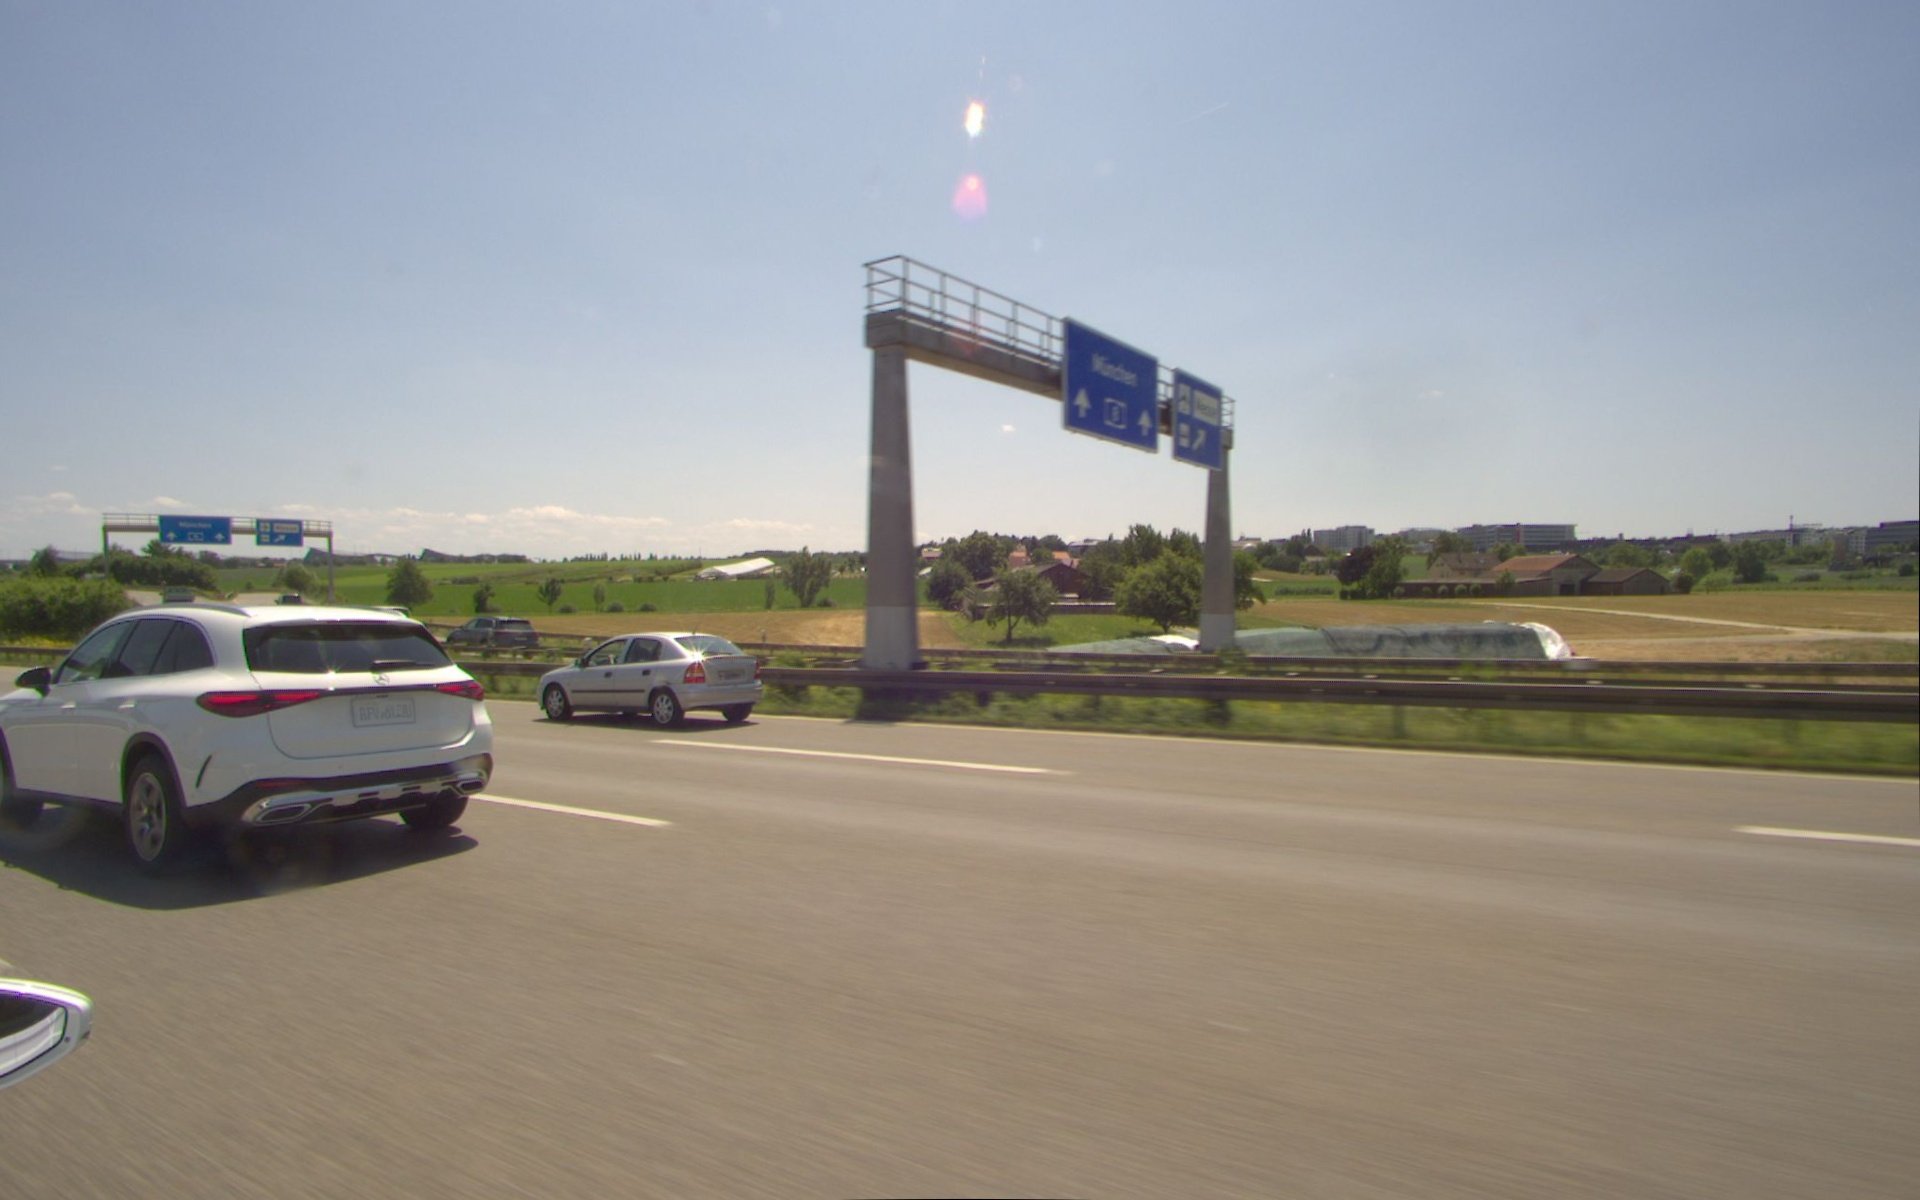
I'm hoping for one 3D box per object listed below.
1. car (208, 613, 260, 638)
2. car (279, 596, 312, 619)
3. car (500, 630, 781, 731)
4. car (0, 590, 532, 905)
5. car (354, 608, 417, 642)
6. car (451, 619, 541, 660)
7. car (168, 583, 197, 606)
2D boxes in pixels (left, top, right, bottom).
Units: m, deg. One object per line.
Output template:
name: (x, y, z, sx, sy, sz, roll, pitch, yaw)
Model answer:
car: (-49.317, 1.755, 68.047, 3.954, 1.616, 1.985, -2, -2, 40)
car: (-59.001, 0.714, 88.859, 1.924, 1.948, 4.143, 0, -2, -41)
car: (-5.336, 1.250, 16.492, 4.779, 1.455, 1.782, -2, -2, 32)
car: (-5.545, 0.869, 7.434, 4.927, 1.668, 1.895, -2, -2, 32)
car: (-34.292, 1.501, 59.715, 4.130, 1.948, 1.931, -2, -2, 40)
car: (-18.708, 1.590, 40.306, 4.078, 1.595, 1.693, -2, -2, 39)
car: (-71.665, -0.481, 92.297, 1.975, 2.039, 3.972, 0, -2, -36)
